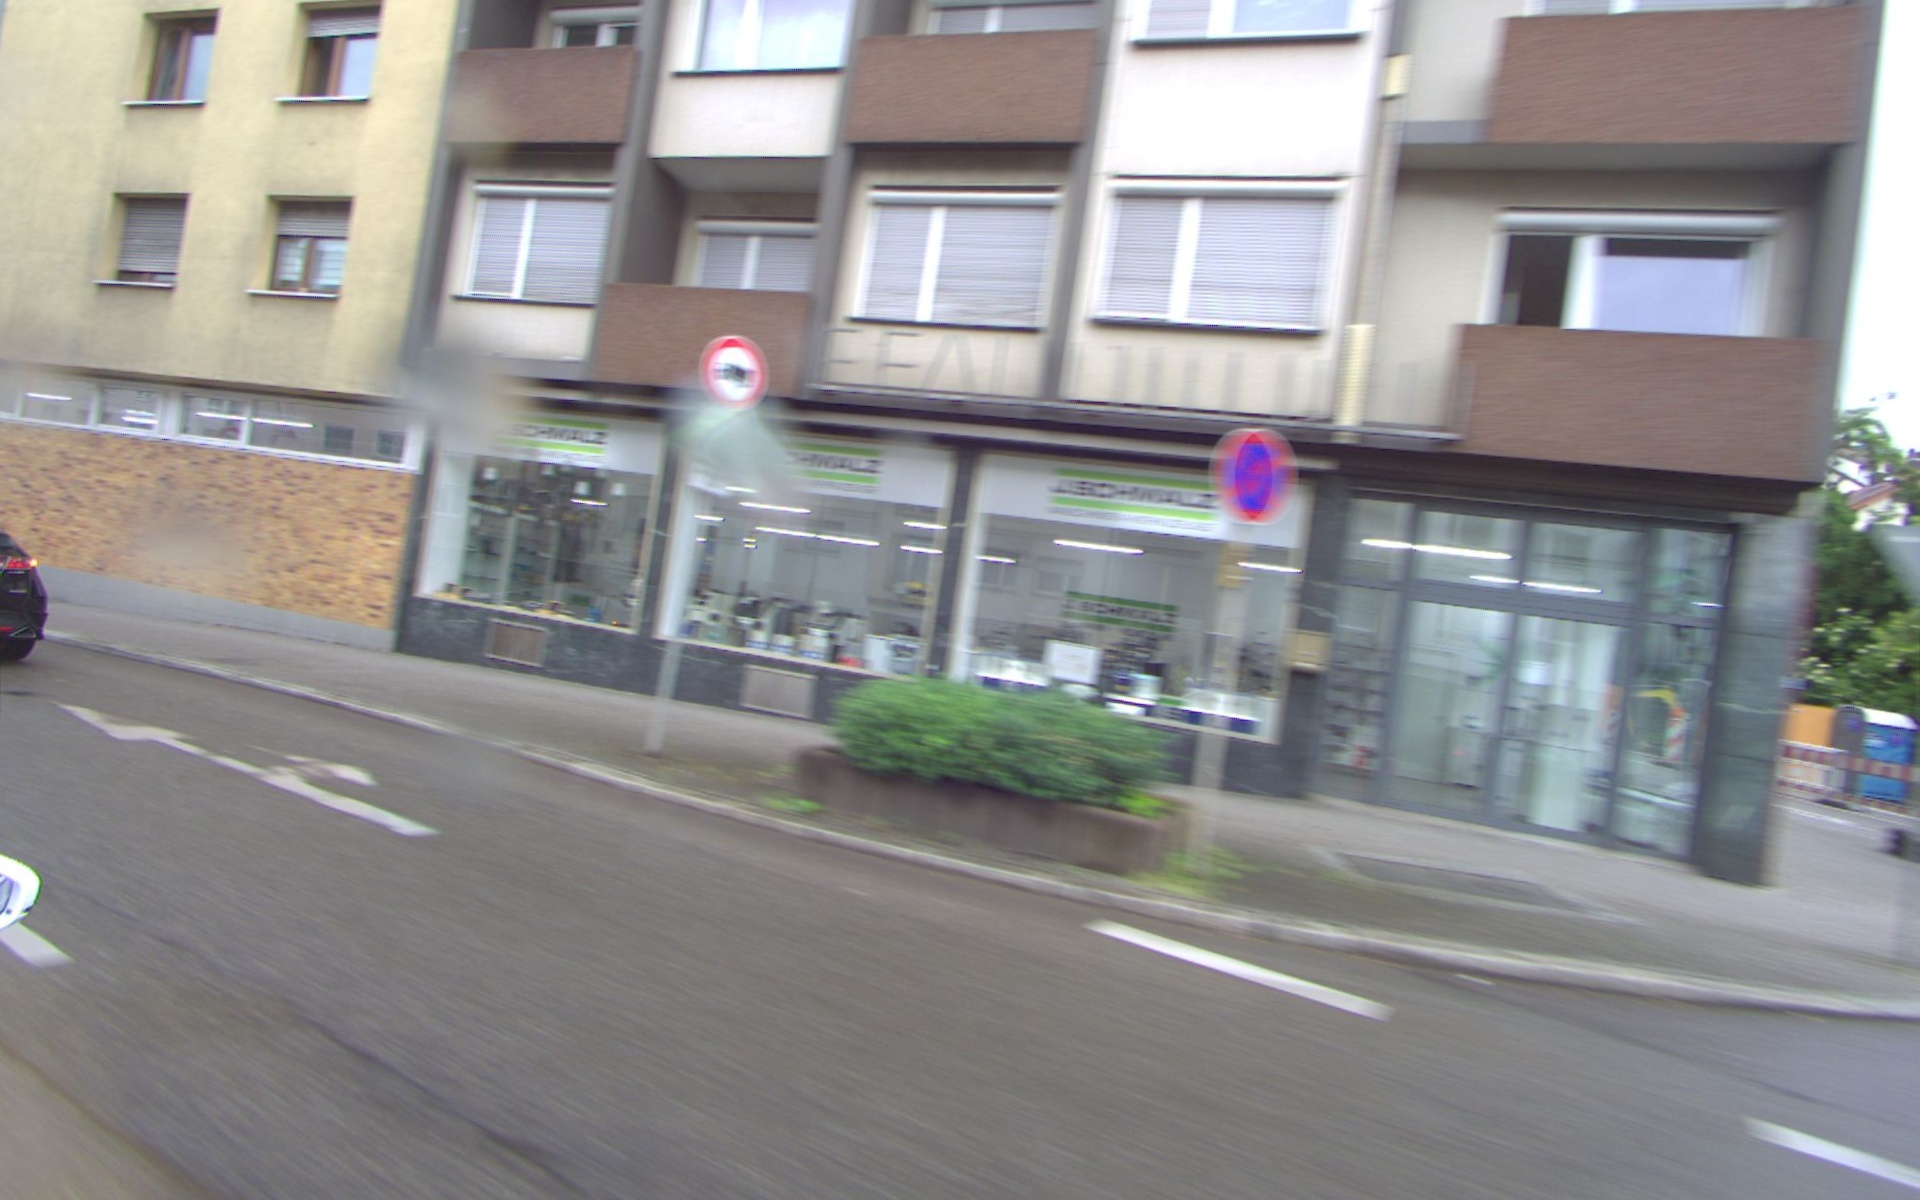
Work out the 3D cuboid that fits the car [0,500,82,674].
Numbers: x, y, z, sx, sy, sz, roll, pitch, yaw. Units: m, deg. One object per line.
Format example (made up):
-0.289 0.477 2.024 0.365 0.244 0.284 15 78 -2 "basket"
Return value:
-10.370 -0.340 9.309 3.983 1.514 1.790 6 -2 24 "car"
